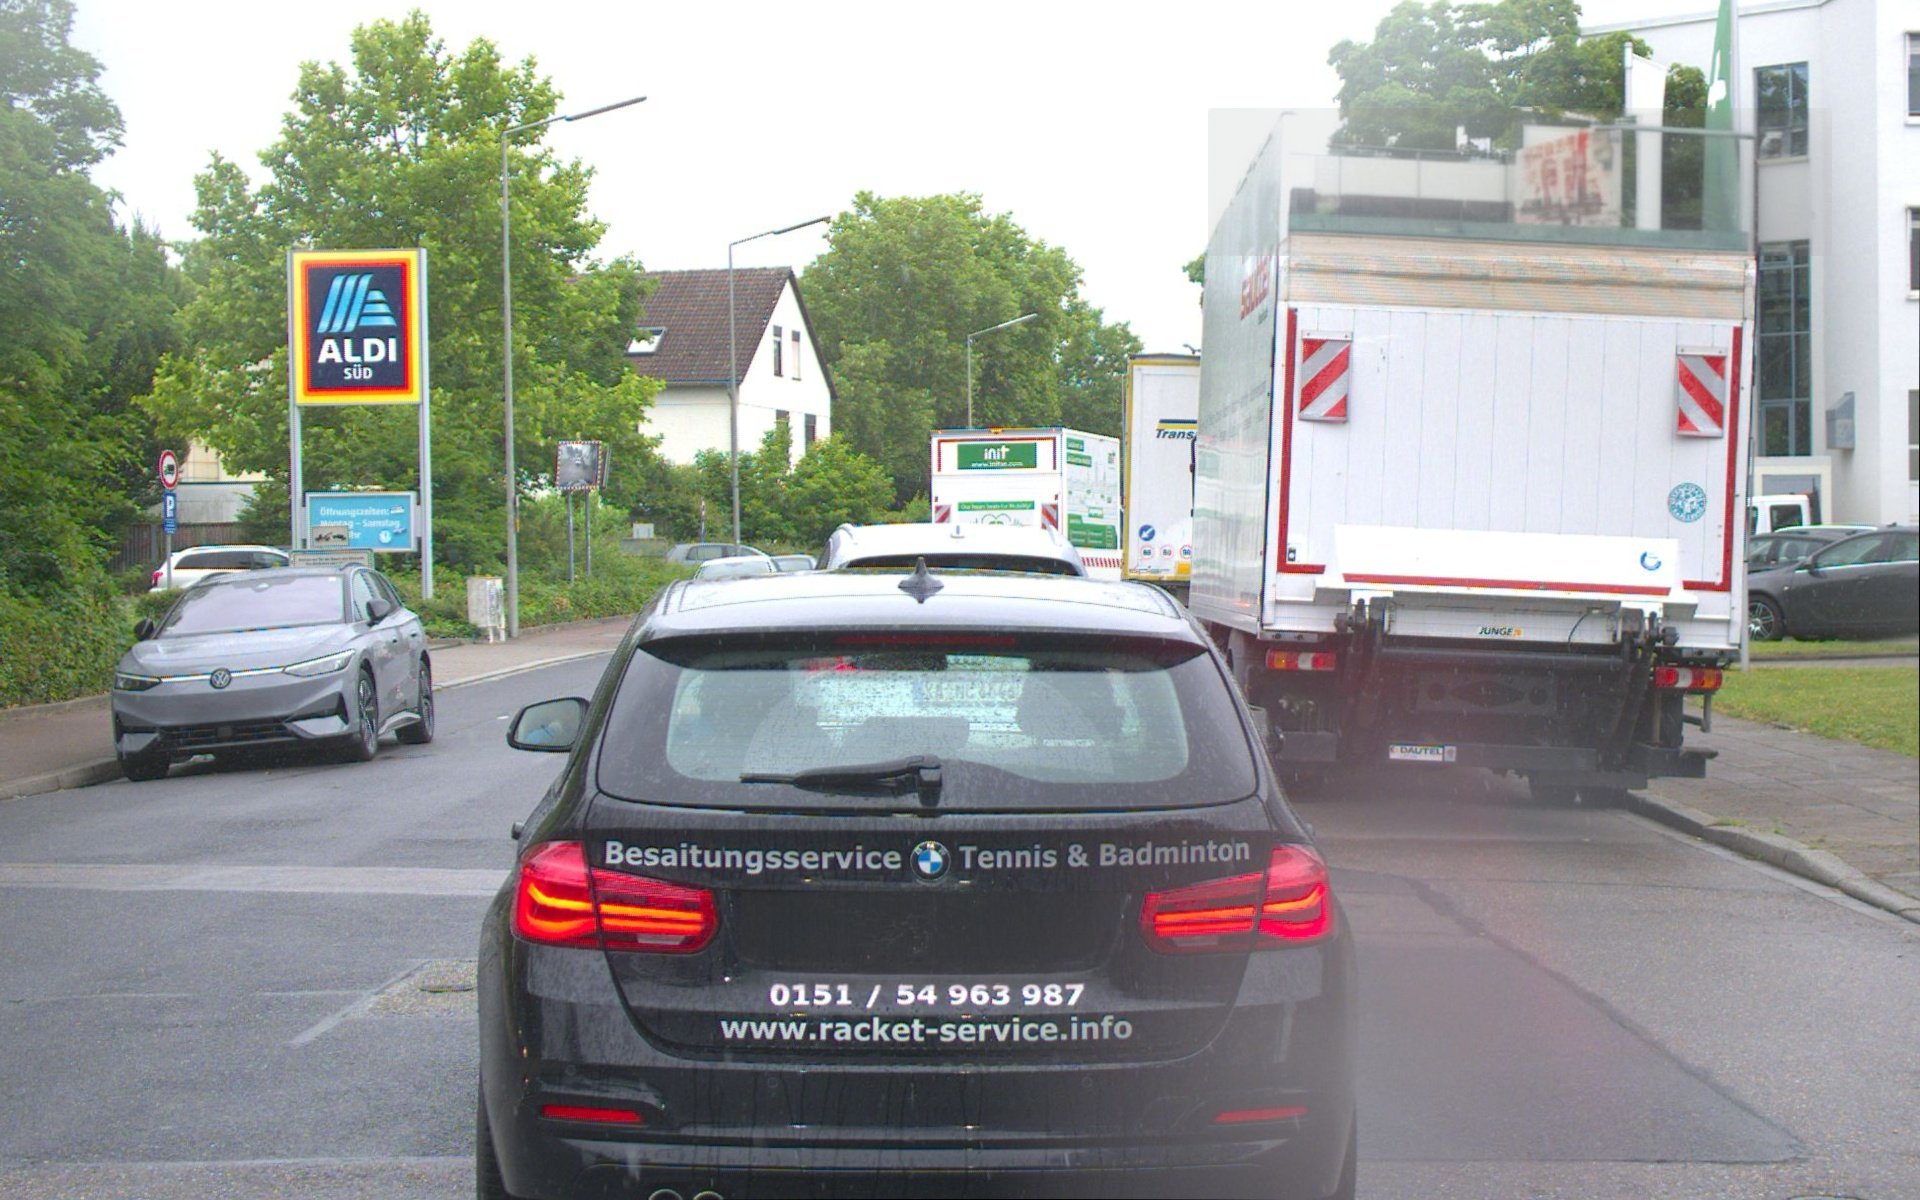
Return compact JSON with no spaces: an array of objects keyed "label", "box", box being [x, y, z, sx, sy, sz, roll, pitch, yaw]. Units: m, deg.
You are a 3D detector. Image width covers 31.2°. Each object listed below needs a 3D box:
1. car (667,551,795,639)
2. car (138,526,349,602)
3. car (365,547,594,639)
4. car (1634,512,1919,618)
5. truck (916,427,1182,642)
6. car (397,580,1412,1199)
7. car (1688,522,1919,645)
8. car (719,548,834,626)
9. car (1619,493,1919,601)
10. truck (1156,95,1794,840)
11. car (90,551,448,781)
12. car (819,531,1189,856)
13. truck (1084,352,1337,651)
[{"label":"car","box":[-3.964,-0.115,60.209,1.705,1.362,4.601,-3,1,2]},{"label":"car","box":[-14.990,-0.761,72.041,3.987,1.535,1.911,0,1,2]},{"label":"car","box":[-8.089,-0.129,58.101,3.570,1.455,1.712,1,1,2]},{"label":"car","box":[12.292,-0.551,51.169,4.147,1.410,1.687,2,4,41]},{"label":"truck","box":[1.609,-1.204,57.305,2.343,3.245,7.744,3,3,17]},{"label":"car","box":[-0.153,0.663,8.127,1.804,1.390,4.000,0,1,-2]},{"label":"car","box":[11.461,-0.221,42.113,4.671,1.463,1.787,0,1,38]},{"label":"car","box":[-3.503,-0.272,66.313,1.706,1.362,3.838,-3,1,4]},{"label":"car","box":[15.993,-0.995,65.440,6.452,2.007,2.000,0,0,-4]},{"label":"truck","box":[2.934,-0.770,22.503,2.741,3.776,9.299,2,1,1]},{"label":"car","box":[-5.333,0.446,27.154,1.809,1.523,4.748,-4,1,0]},{"label":"car","box":[0.160,0.437,18.773,1.804,1.581,4.000,0,1,-2]},{"label":"truck","box":[3.221,-1.280,46.231,2.741,3.598,7.750,2,1,0]}]
